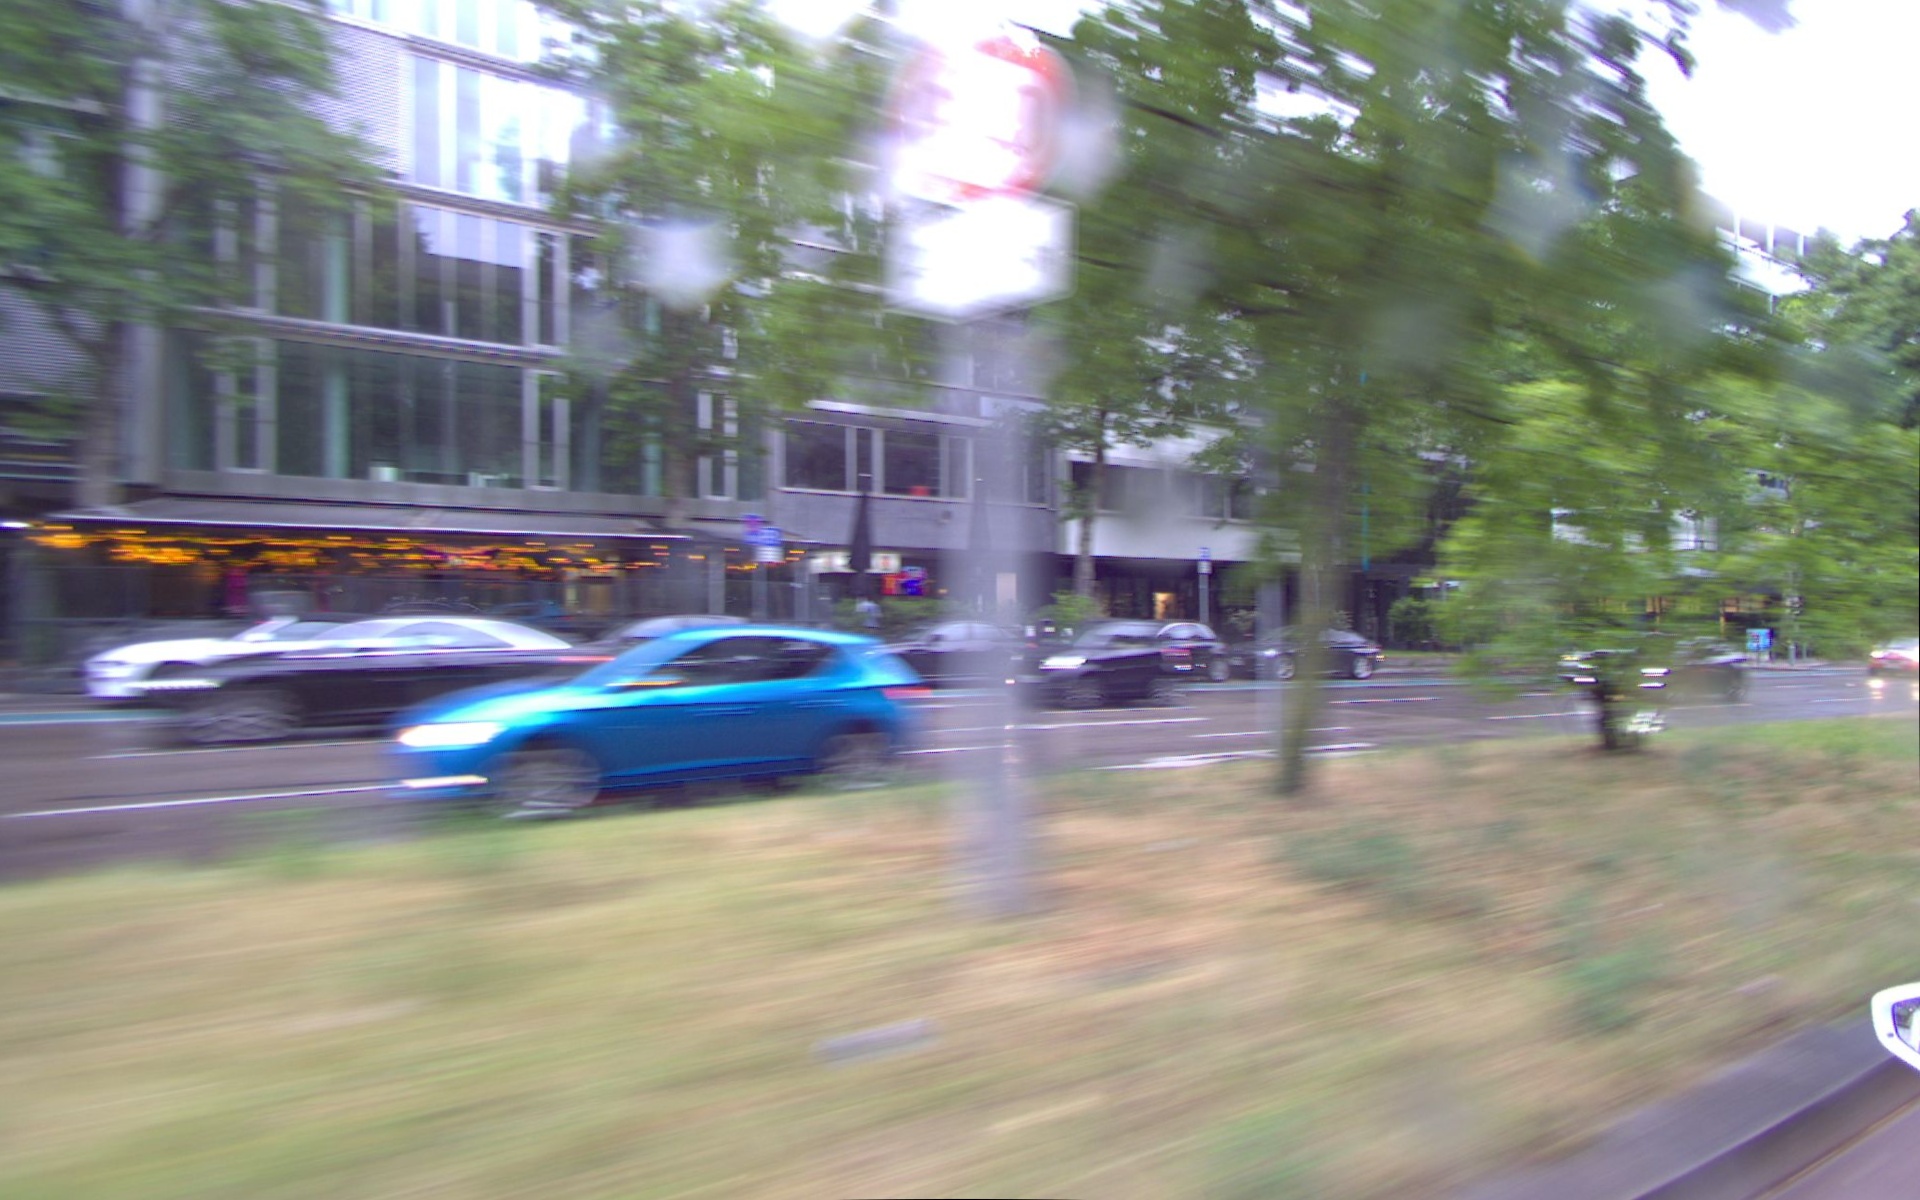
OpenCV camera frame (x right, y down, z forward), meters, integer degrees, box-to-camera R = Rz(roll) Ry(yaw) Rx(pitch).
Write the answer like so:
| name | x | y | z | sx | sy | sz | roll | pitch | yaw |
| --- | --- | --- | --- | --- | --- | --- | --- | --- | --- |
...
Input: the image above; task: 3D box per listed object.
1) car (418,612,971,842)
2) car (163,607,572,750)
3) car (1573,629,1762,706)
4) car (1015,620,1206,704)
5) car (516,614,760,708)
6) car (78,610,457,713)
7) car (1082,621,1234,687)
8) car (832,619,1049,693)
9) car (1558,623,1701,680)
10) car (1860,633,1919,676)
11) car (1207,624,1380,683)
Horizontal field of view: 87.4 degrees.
| name | x | y | z | sx | sy | sz | roll | pitch | yaw |
| --- | --- | --- | --- | --- | --- | --- | --- | --- | --- |
| car | -2.220 | 0.887 | 8.745 | 4.345 | 1.502 | 1.834 | 0 | 1 | -31 |
| car | -7.065 | 0.861 | 12.326 | 4.051 | 1.495 | 1.740 | 1 | -1 | -33 |
| car | 15.569 | 1.452 | 22.081 | 4.045 | 1.495 | 1.742 | 2 | 0 | -28 |
| car | 2.708 | 1.072 | 18.129 | 3.010 | 1.385 | 1.712 | 1 | -1 | -29 |
| car | -5.860 | 1.039 | 18.369 | 3.954 | 1.528 | 1.828 | 1 | -1 | -31 |
| car | -10.410 | 0.865 | 15.548 | 4.628 | 1.371 | 1.552 | 1 | 0 | -31 |
| car | 4.844 | 1.266 | 24.535 | 3.419 | 1.488 | 1.685 | 1 | -1 | -31 |
| car | -0.374 | 1.142 | 21.477 | 4.404 | 1.428 | 1.685 | 1 | -1 | -31 |
| car | 18.358 | 1.369 | 27.540 | 3.598 | 1.448 | 1.835 | 1 | -1 | -29 |
| car | 34.461 | 1.965 | 36.747 | 2.698 | 1.483 | 1.487 | 1 | -1 | -29 |
| car | 9.013 | 1.387 | 27.046 | 4.847 | 1.428 | 1.685 | 1 | -1 | -31 |
